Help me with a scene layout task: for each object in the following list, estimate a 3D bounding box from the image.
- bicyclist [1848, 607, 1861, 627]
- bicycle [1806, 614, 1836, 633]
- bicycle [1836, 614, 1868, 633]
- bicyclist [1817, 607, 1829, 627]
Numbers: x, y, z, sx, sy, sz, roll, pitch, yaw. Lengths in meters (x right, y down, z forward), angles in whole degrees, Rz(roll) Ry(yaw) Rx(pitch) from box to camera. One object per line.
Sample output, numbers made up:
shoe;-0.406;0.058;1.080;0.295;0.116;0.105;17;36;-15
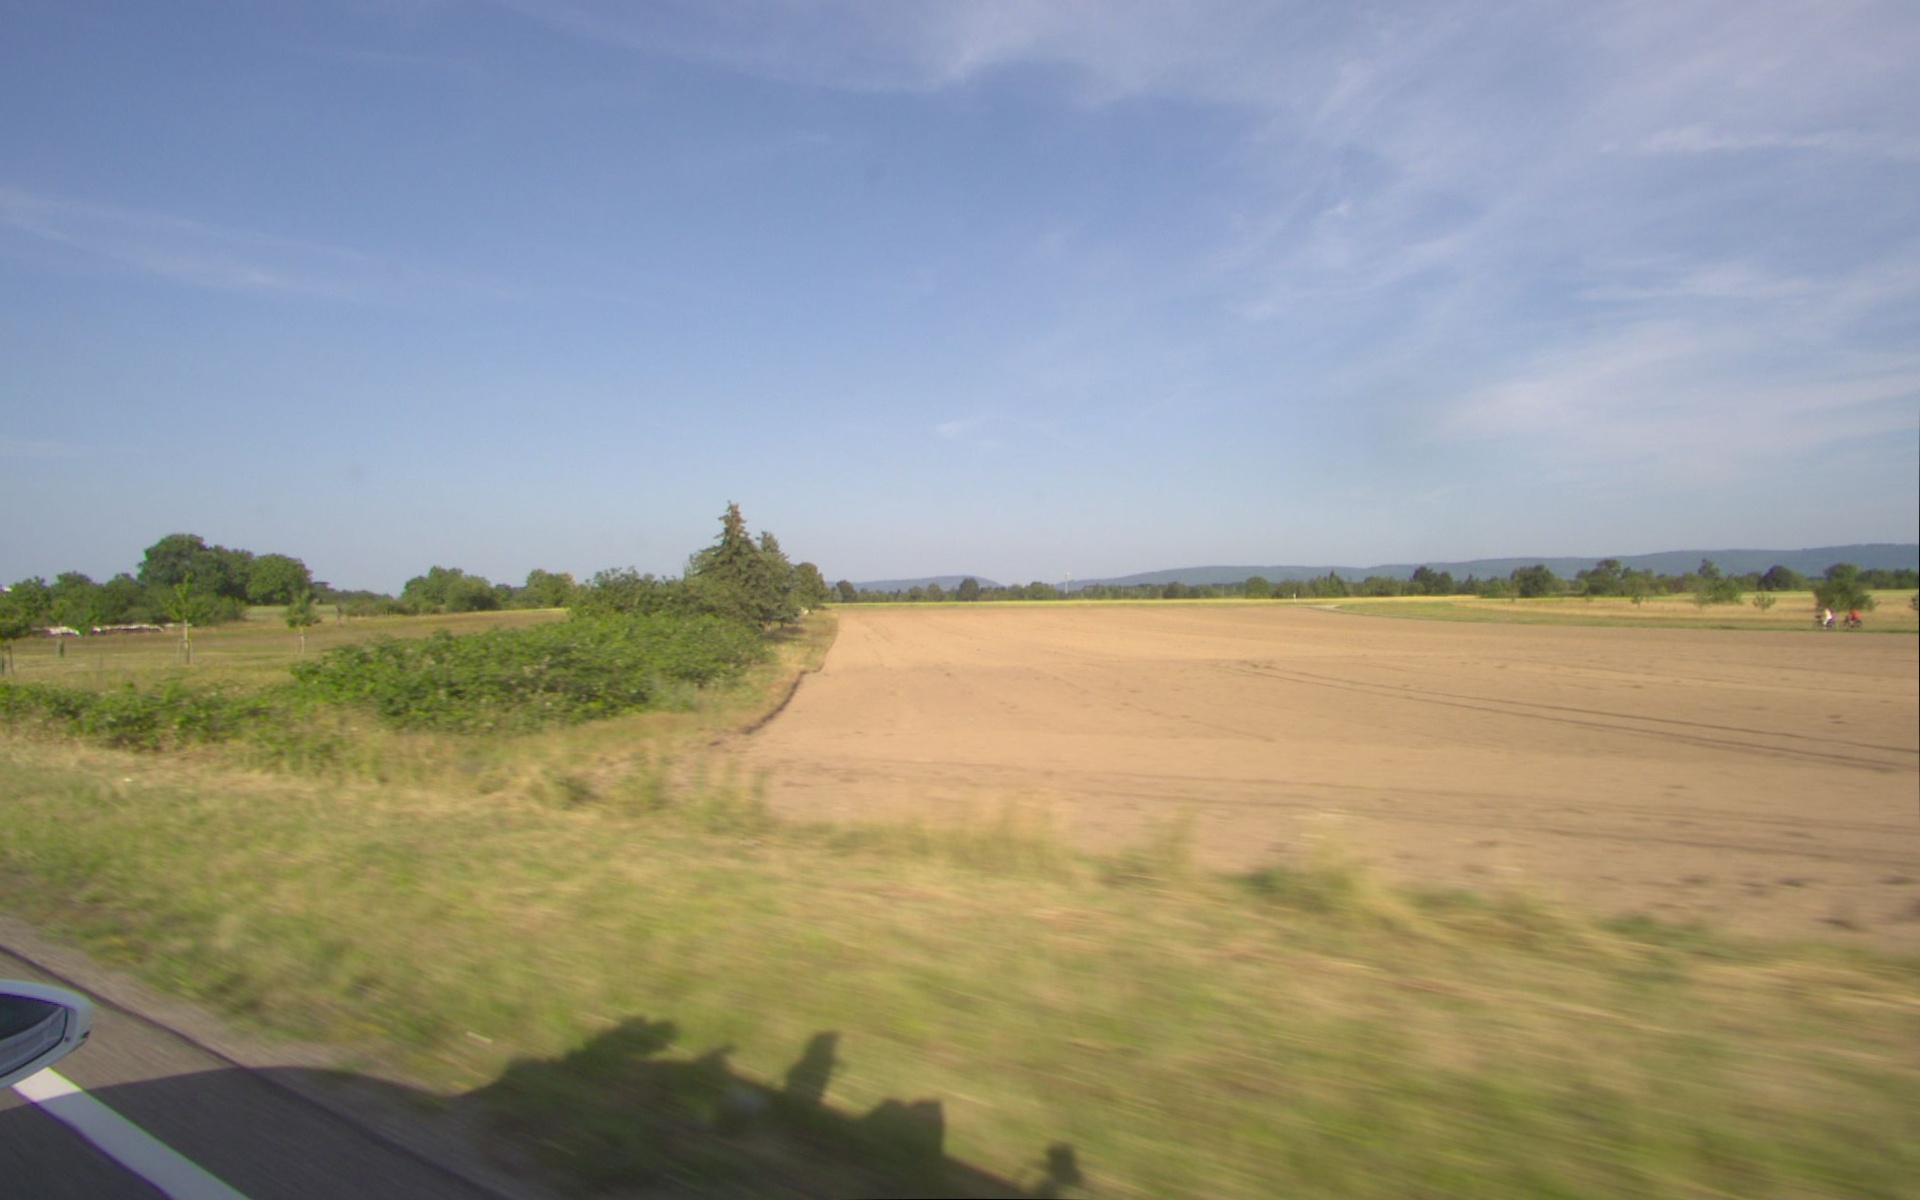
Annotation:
bicyclist;72.113;1.382;80.721;0.479;1.617;0.550;0;-1;-15
bicycle;70.373;1.929;81.861;0.494;1.550;1.975;0;-2;-14
bicycle;72.075;1.928;80.901;0.494;1.550;1.975;0;-2;-14
bicyclist;70.411;1.378;81.718;0.479;1.617;0.550;0;-1;-15
